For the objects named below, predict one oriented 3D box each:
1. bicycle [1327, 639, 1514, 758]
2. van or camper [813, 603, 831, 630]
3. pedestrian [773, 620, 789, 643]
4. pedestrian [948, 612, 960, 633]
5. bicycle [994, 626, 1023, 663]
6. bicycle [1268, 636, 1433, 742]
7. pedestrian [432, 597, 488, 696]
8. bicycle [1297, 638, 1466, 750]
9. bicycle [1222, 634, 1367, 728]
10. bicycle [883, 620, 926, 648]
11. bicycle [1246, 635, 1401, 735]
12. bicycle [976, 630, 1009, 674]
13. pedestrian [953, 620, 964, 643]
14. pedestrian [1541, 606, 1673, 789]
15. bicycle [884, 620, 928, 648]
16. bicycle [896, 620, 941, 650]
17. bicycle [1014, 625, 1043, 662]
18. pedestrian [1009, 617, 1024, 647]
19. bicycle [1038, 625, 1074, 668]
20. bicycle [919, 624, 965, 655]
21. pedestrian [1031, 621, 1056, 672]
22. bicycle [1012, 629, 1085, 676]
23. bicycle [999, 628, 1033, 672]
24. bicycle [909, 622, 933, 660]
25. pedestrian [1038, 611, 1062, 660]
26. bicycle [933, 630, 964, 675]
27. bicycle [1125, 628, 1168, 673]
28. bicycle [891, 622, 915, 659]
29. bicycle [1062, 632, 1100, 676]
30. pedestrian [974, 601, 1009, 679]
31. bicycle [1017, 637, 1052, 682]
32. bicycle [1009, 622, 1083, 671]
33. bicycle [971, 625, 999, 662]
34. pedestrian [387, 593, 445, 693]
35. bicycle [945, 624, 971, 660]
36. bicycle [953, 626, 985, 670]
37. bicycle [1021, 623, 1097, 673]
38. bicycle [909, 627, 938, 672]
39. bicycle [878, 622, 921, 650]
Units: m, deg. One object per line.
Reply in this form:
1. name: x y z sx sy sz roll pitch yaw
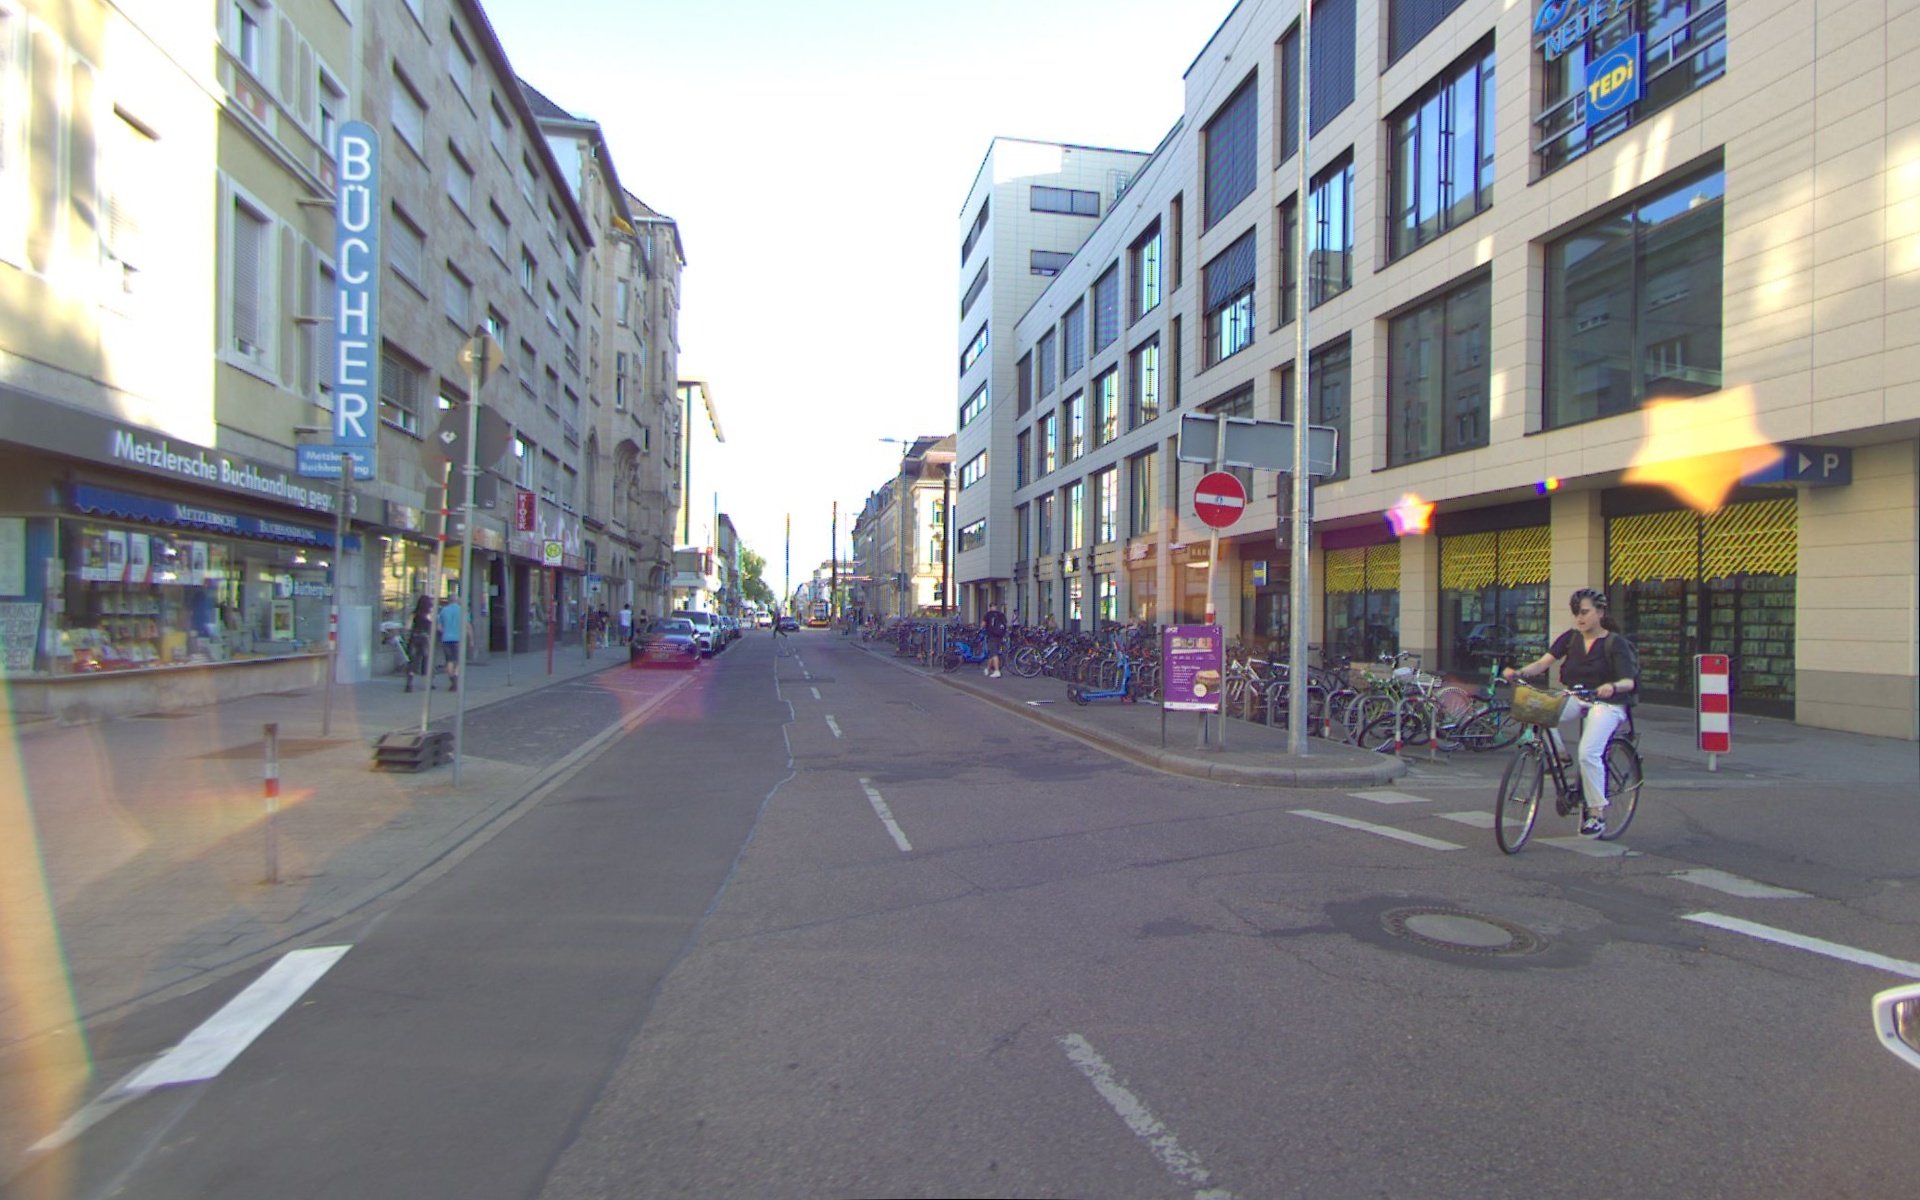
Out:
1. bicycle: 5.234 1.113 11.420 2.010 1.271 0.581 2 -1 -15
2. van or camper: -17.648 2.105 128.320 1.962 3.317 5.160 1 -1 -5
3. pedestrian: -11.283 1.972 63.368 0.907 1.447 0.401 1 -1 -15
4. pedestrian: -0.424 1.550 69.238 0.672 1.444 0.643 1 0 -12
5. bicycle: 1.758 1.605 36.823 0.504 1.271 1.974 2 -1 -13
6. bicycle: 4.907 1.115 12.638 1.943 1.271 0.512 2 -1 -11
7. pedestrian: -8.919 0.824 17.938 0.653 1.730 0.801 1 -1 -11
8. bicycle: 5.049 1.118 12.032 1.946 1.271 0.512 2 -1 -15
9. bicycle: 4.723 1.142 14.175 1.945 1.271 0.512 2 -1 -14
10. bicycle: -2.598 1.592 47.325 1.949 1.271 0.511 2 -1 -20
11. bicycle: 4.847 1.135 13.398 1.944 1.271 0.512 2 -1 -13
12. bicycle: 0.971 1.570 30.933 0.504 1.271 1.974 2 -1 -13
13. pedestrian: -0.096 2.335 74.806 0.672 1.718 0.643 1 0 -12
14. pedestrian: 6.194 0.912 9.648 0.855 1.680 0.619 1 -1 1
15. bicycle: -2.481 1.582 46.521 1.949 1.271 0.511 2 -1 -20
16. bicycle: -1.865 1.580 45.113 1.949 1.271 0.511 2 -1 -20
17. bicycle: 2.506 1.582 37.034 0.504 1.271 1.974 2 -1 -13
18. pedestrian: 3.221 1.821 57.544 0.672 1.718 0.643 1 0 -12
19. bicycle: 2.995 1.434 31.383 0.504 1.271 1.974 2 -1 -13
20. bicycle: -0.780 1.706 43.472 1.944 1.271 0.512 2 -1 -13
21. pedestrian: 2.861 1.600 34.452 0.672 1.718 0.643 1 0 -12
22. bicycle: 2.493 1.471 28.271 1.944 1.271 0.512 2 -1 -13
23. bicycle: 1.707 1.534 31.088 0.504 1.271 1.974 2 -1 -13
24. bicycle: -1.419 1.465 36.201 0.504 1.271 1.974 2 -1 -13
25. pedestrian: 3.170 1.245 35.357 0.672 1.718 0.643 1 0 -12
26. bicycle: -0.358 1.587 30.631 0.504 1.271 1.974 2 -1 -13
27. bicycle: 5.708 1.534 30.849 0.602 1.271 1.975 2 -1 -11
28. bicycle: -2.044 1.428 35.856 0.504 1.271 1.974 2 -1 -13
29. bicycle: 3.758 1.665 31.337 0.504 1.271 1.974 2 -1 -13
30. pedestrian: 0.697 0.900 22.589 0.672 1.718 0.643 1 0 -8
31. bicycle: 2.311 1.829 31.250 0.504 1.271 1.974 2 -1 -13
32. bicycle: 2.360 1.274 27.507 1.944 1.271 0.512 2 -1 -13
33. bicycle: 0.908 1.579 36.759 0.504 1.271 1.974 2 -1 -13
34. pedestrian: -9.662 0.764 17.872 0.653 1.730 0.801 1 -1 -11
35. bicycle: -0.090 1.513 36.594 0.504 1.271 1.974 2 -1 -13
36. bicycle: 0.269 1.446 30.811 0.504 1.271 1.974 2 -1 -13
37. bicycle: 2.641 1.271 26.832 1.944 1.271 0.512 2 -1 -13
38. bicycle: -1.118 1.495 30.566 0.504 1.271 1.974 2 -1 -13
39. bicycle: -2.909 1.725 48.372 1.949 1.271 0.511 2 -1 -20
